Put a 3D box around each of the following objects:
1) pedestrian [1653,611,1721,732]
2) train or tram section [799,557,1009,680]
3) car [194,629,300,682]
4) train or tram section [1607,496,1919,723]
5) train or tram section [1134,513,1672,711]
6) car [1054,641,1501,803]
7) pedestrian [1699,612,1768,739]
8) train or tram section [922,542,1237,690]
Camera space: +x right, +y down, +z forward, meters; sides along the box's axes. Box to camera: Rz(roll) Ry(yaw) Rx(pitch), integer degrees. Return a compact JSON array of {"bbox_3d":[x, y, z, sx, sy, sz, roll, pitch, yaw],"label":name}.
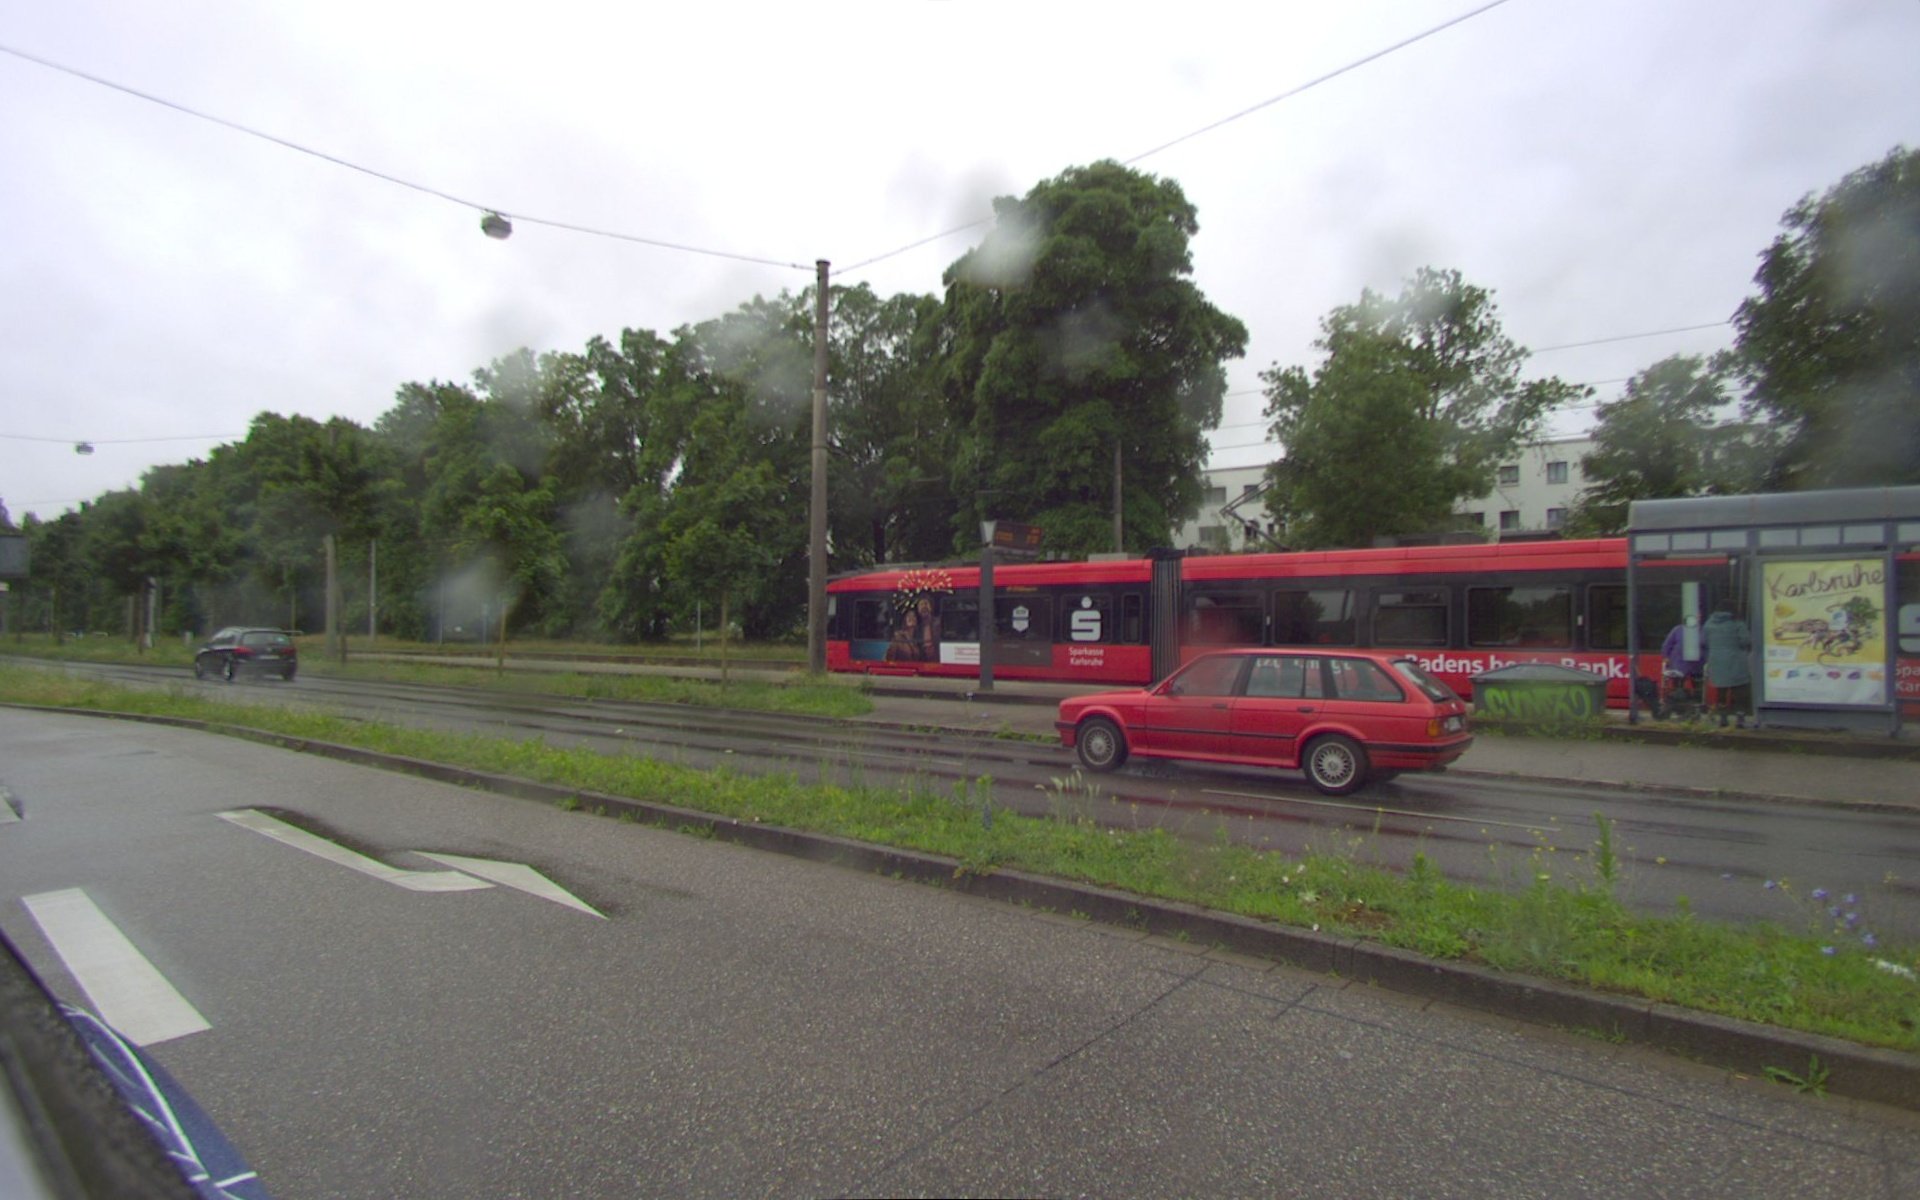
[{"bbox_3d":[9.848,0.944,13.713,0.514,1.574,0.603,-1,0,-36],"label":"pedestrian"},{"bbox_3d":[-1.792,0.618,31.603,5.765,3.444,3.497,-1,-2,40],"label":"train or tram section"},{"bbox_3d":[-21.581,1.620,30.590,3.818,1.448,1.719,-1,-1,41],"label":"car"},{"bbox_3d":[16.099,0.171,16.215,9.271,3.416,3.497,-1,-2,40],"label":"train or tram section"},{"bbox_3d":[9.164,0.333,22.184,10.253,3.427,3.497,-1,-2,40],"label":"train or tram section"},{"bbox_3d":[3.240,1.161,10.799,4.246,1.371,1.664,-1,-4,38],"label":"car"},{"bbox_3d":[9.984,0.950,13.068,0.437,1.574,0.603,-1,0,-36],"label":"pedestrian"},{"bbox_3d":[3.043,0.484,27.454,7.897,3.438,3.497,-1,-2,40],"label":"train or tram section"}]
